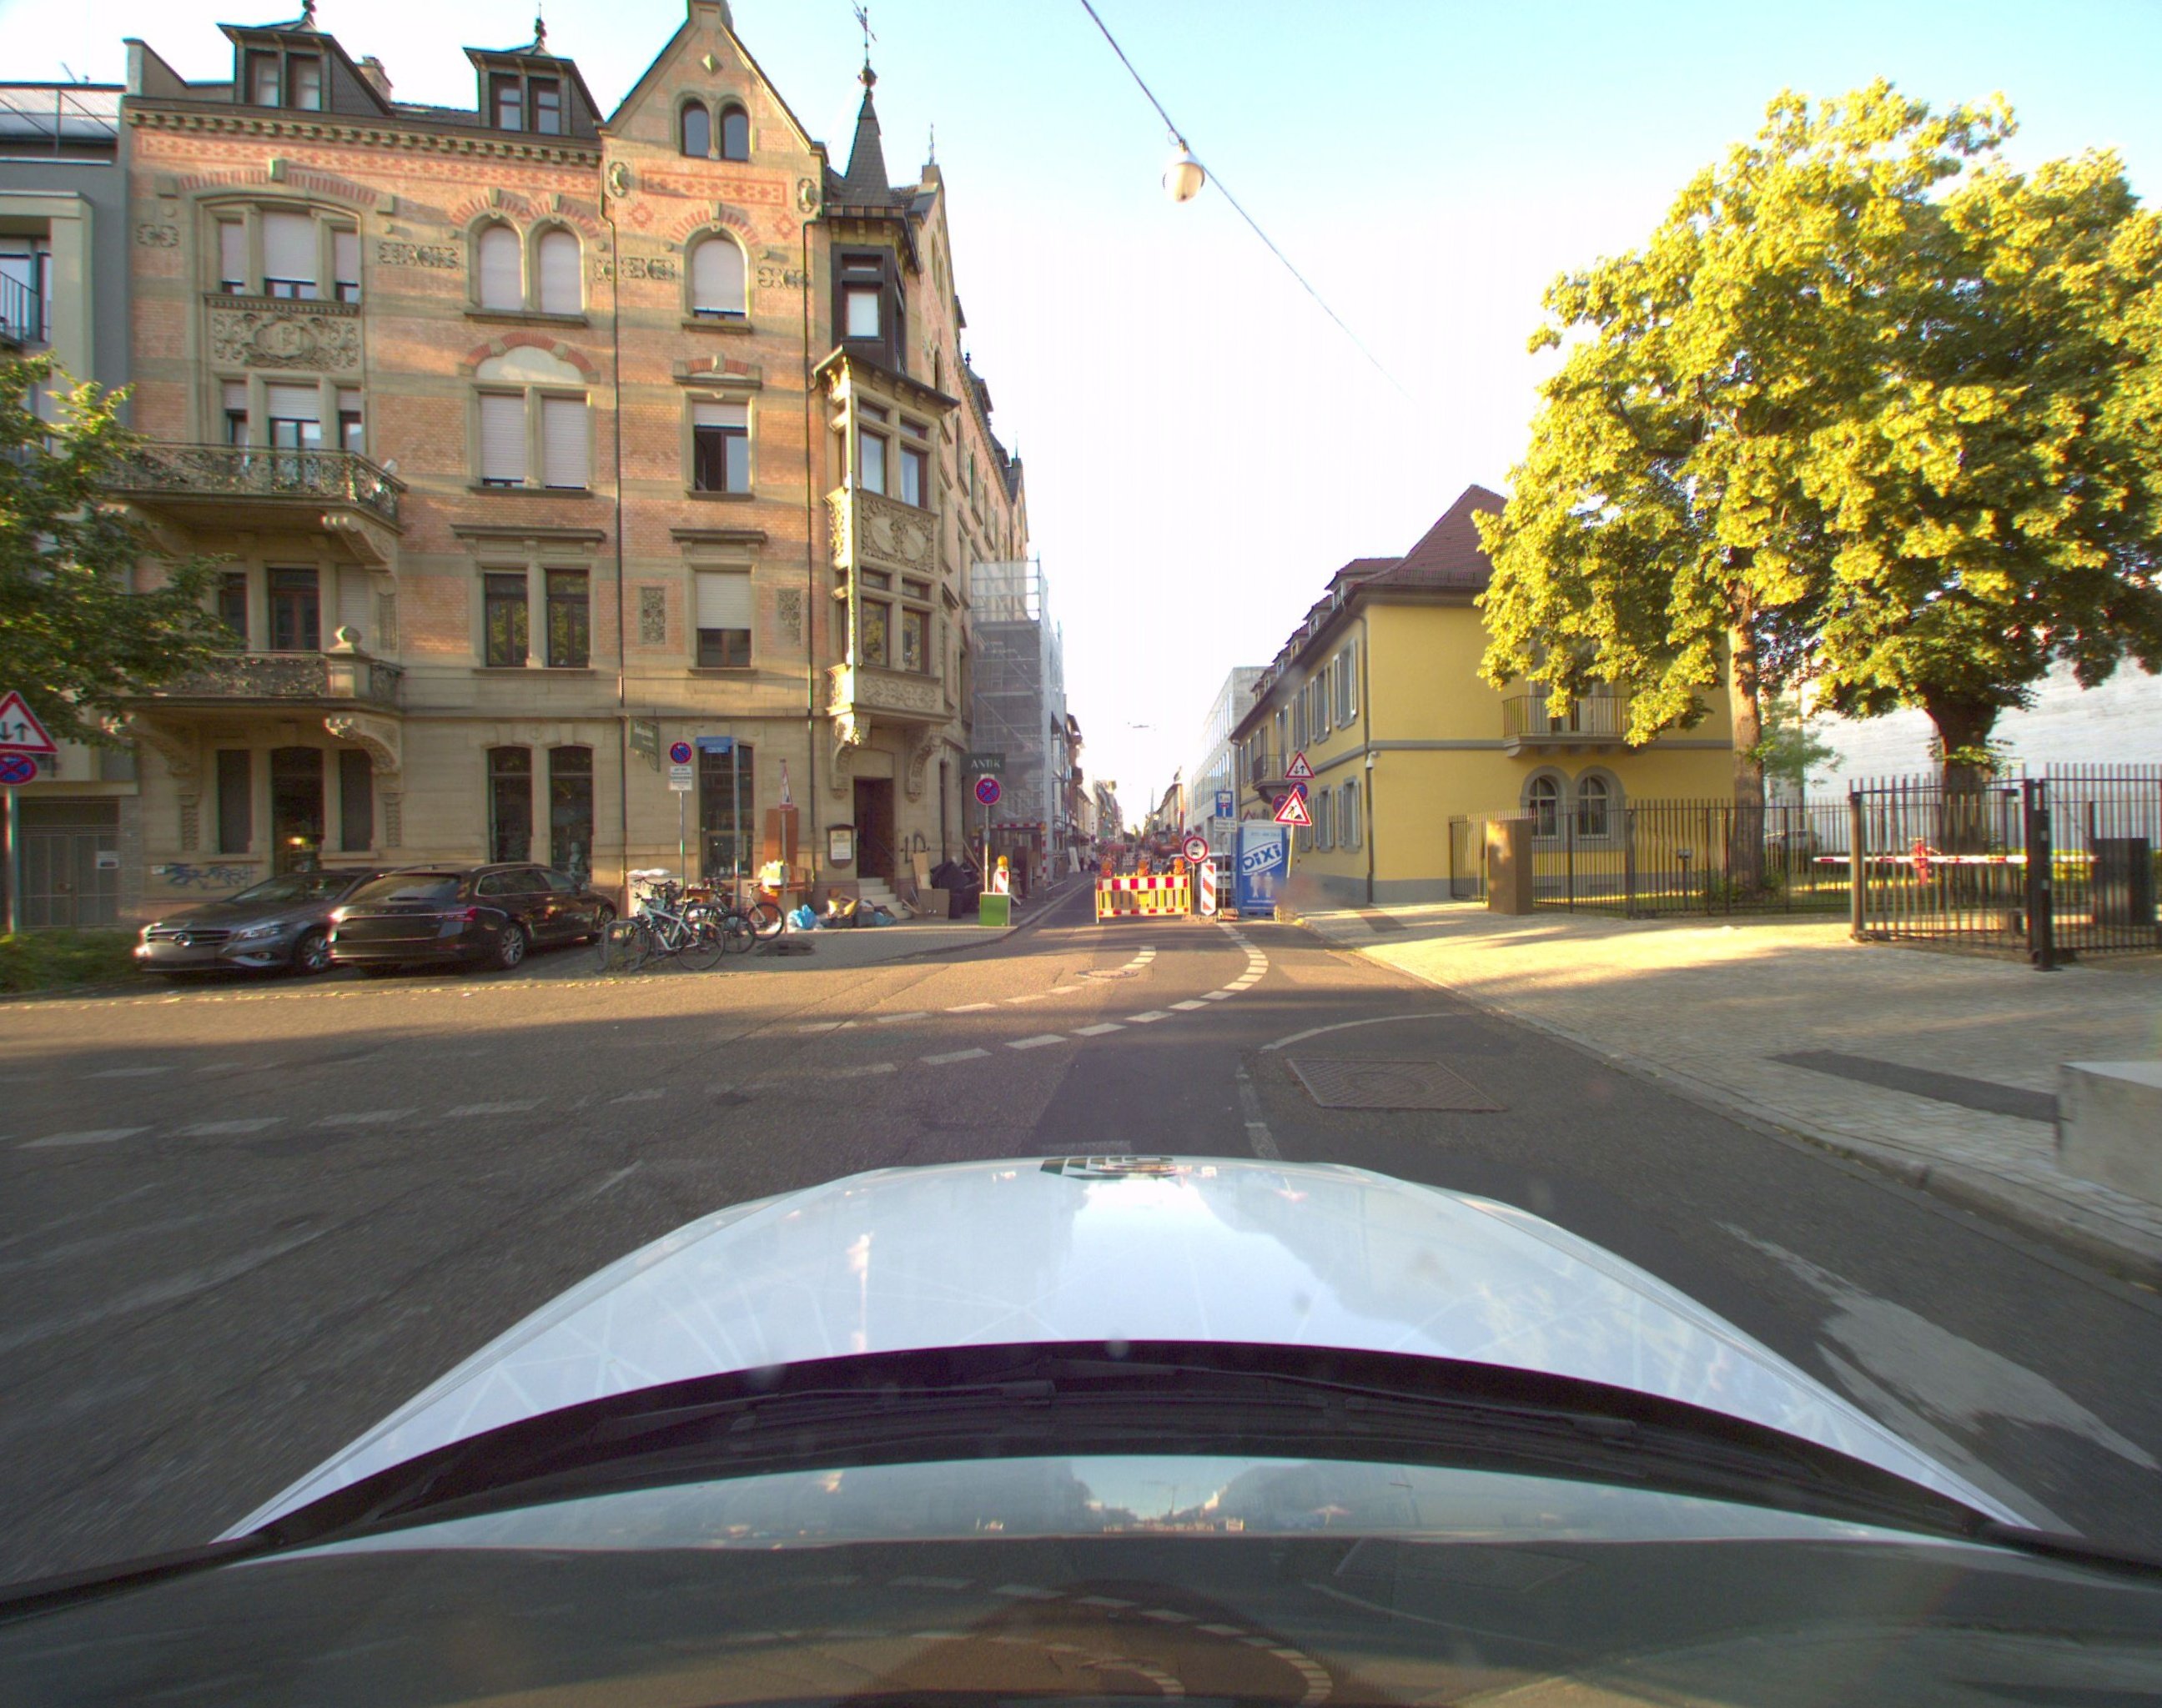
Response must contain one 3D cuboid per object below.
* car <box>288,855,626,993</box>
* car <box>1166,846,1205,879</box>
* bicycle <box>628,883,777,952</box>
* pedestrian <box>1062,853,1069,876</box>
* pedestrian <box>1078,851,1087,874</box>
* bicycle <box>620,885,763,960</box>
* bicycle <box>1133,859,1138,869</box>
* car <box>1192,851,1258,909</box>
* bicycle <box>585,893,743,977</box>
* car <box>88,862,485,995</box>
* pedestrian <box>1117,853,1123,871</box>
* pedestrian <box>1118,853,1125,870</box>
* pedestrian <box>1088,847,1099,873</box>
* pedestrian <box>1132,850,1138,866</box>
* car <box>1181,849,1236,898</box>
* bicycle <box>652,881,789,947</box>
[{"bbox_3d":[-8.958,0.858,12.332,1.903,1.511,4.532,-2,2,-6],"label":"car"},{"bbox_3d":[5.064,0.404,39.859,1.710,1.520,3.225,-2,0,4],"label":"car"},{"bbox_3d":[-6.208,1.032,13.438,2.102,1.013,0.638,-1,0,-8],"label":"bicycle"},{"bbox_3d":[-1.045,0.736,55.464,0.339,1.566,0.423,-1,-1,25],"label":"pedestrian"},{"bbox_3d":[0.089,0.647,62.036,0.674,1.733,0.700,-1,-1,0],"label":"pedestrian"},{"bbox_3d":[-5.902,1.027,12.426,1.825,1.013,0.638,-1,0,-8],"label":"bicycle"},{"bbox_3d":[5.018,0.883,75.000,0.502,0.884,1.478,-1,0,4],"label":"bicycle"},{"bbox_3d":[4.060,0.688,23.327,1.533,1.520,3.225,0,0,4],"label":"car"},{"bbox_3d":[-5.690,1.092,11.181,1.822,1.047,0.570,-1,0,-4],"label":"bicycle"},{"bbox_3d":[-11.538,0.940,12.424,1.859,1.479,4.532,-2,1,-6],"label":"car"},{"bbox_3d":[3.380,0.691,70.482,0.502,1.461,0.513,-1,0,4],"label":"pedestrian"},{"bbox_3d":[3.640,0.657,73.423,0.501,1.461,0.514,-1,0,10],"label":"pedestrian"},{"bbox_3d":[0.887,0.423,57.349,0.508,1.764,0.507,-1,0,-38],"label":"pedestrian"},{"bbox_3d":[5.008,0.364,74.940,0.502,1.461,0.513,-1,0,5],"label":"pedestrian"},{"bbox_3d":[4.324,0.612,28.144,1.533,1.520,3.983,-2,0,4],"label":"car"},{"bbox_3d":[-6.264,1.034,14.214,2.102,1.040,0.464,-1,0,-8],"label":"bicycle"}]
